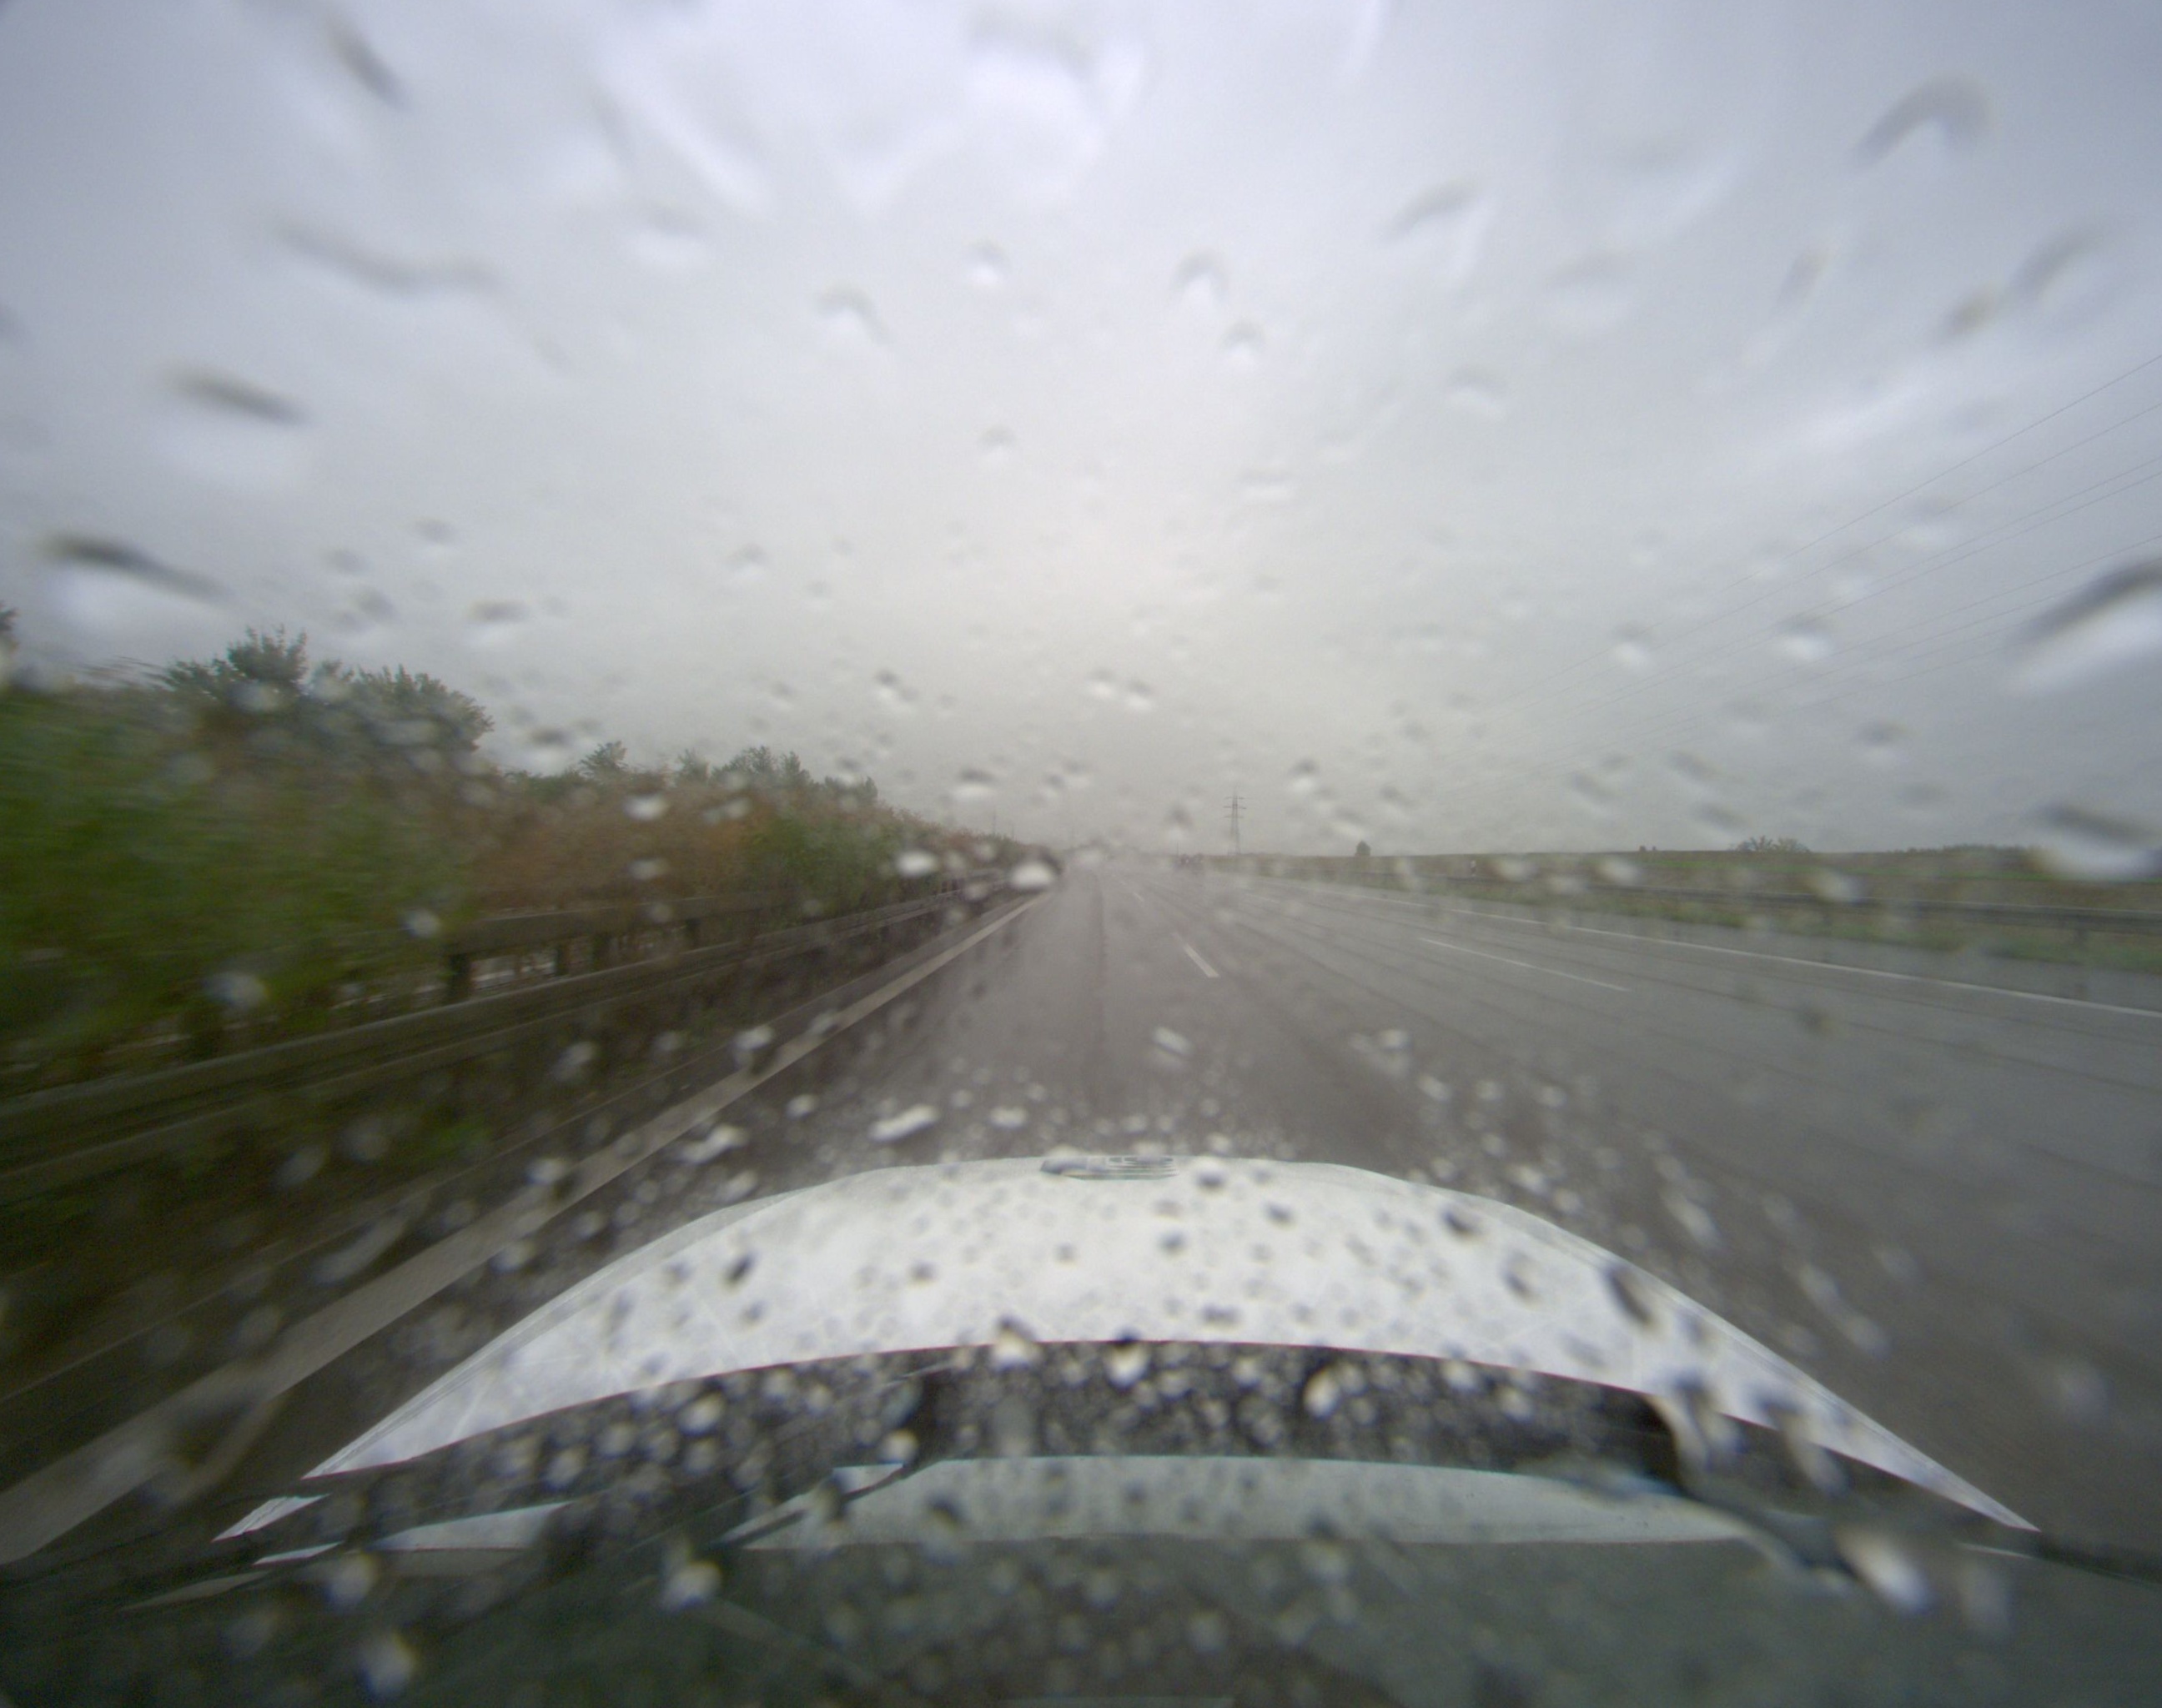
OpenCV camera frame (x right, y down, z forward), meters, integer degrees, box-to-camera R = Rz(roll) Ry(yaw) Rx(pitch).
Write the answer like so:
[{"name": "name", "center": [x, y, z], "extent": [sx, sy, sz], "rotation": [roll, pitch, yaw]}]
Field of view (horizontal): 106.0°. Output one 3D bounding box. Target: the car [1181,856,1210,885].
[{"name": "car", "center": [8.947, 1.246, 63.709], "extent": [1.800, 2.158, 4.001], "rotation": [0, 0, 2]}]

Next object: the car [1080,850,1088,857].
[{"name": "car", "center": [0.965, -0.219, 257.693], "extent": [2.549, 2.248, 5.351], "rotation": [0, 0, 0]}]

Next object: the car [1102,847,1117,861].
[{"name": "car", "center": [6.380, -0.009, 185.137], "extent": [3.189, 3.193, 7.256], "rotation": [0, 0, 0]}]
